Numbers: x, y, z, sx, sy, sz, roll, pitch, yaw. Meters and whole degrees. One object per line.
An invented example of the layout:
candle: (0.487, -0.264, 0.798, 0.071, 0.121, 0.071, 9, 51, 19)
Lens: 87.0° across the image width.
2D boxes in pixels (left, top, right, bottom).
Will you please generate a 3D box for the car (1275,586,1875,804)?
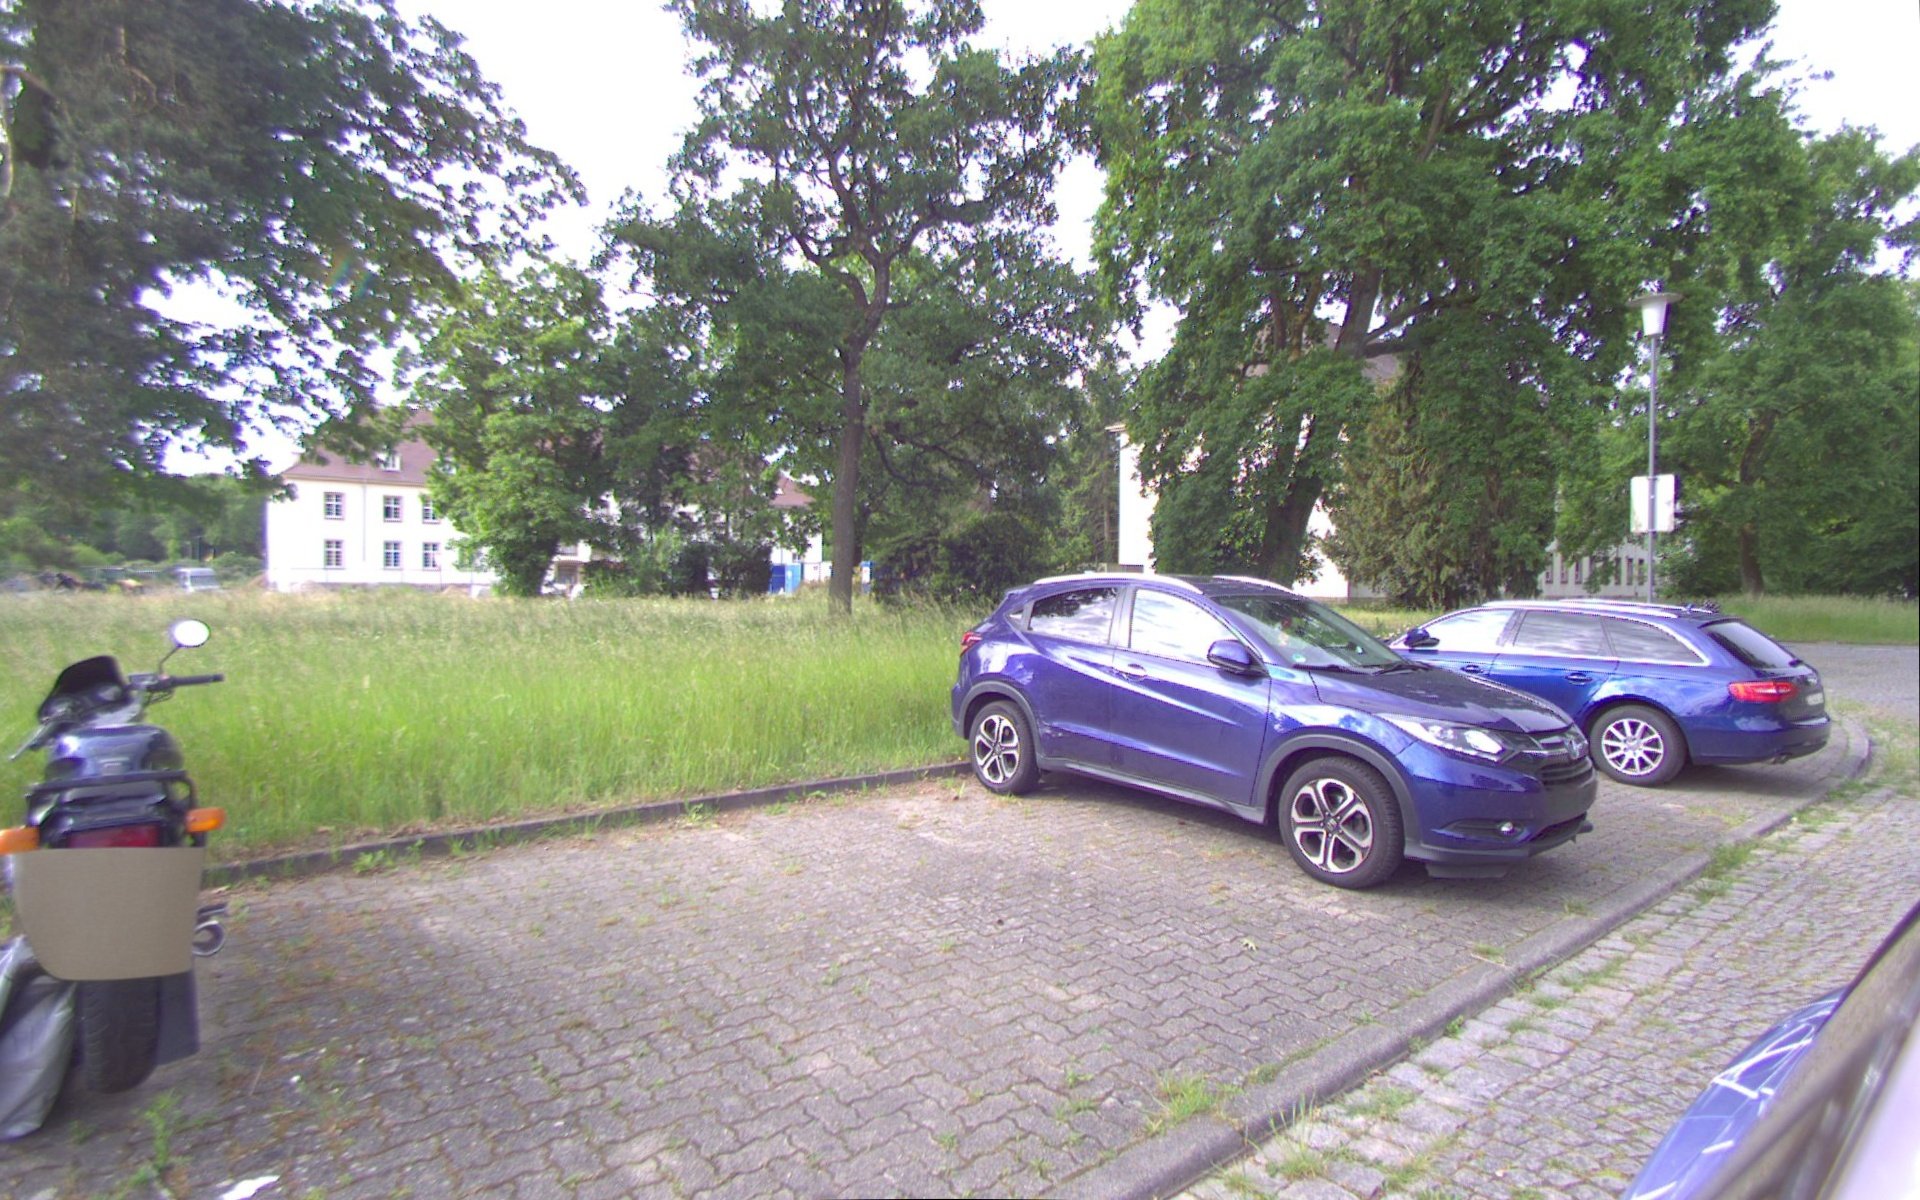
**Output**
car: (5.404, 0.646, 9.524, 1.751, 1.439, 4.484, 0, 2, -36)

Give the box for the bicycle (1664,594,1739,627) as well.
bicycle: (25.558, 0.360, 34.911, 2.010, 1.090, 0.616, 0, 0, 28)

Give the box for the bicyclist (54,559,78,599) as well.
bicyclist: (-38.115, -0.895, 43.141, 0.759, 1.717, 0.726, 0, 0, -42)

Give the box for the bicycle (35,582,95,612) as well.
bicycle: (-38.104, -0.143, 43.113, 1.898, 1.244, 0.724, -1, 0, -41)

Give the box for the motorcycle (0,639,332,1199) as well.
motorcycle: (-2.768, 0.812, 3.355, 0.782, 1.200, 2.331, -1, 2, -42)

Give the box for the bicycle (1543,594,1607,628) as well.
bicycle: (21.188, 0.367, 34.887, 1.840, 1.137, 0.616, 0, 0, 28)

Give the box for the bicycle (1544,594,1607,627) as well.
bicycle: (21.517, 0.359, 35.432, 1.840, 1.137, 0.616, 0, 0, 28)

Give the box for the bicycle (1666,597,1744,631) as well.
bicycle: (24.348, 0.437, 33.124, 1.951, 1.090, 0.583, 0, 0, 24)

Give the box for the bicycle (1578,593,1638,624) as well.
bicycle: (24.321, 0.298, 38.022, 1.840, 1.137, 0.616, 0, 0, 28)

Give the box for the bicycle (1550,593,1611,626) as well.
bicycle: (22.531, 0.337, 36.766, 1.840, 1.137, 0.616, 0, 0, 28)

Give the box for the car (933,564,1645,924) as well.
car: (1.794, 0.579, 6.649, 1.761, 1.591, 4.171, -2, 2, -39)

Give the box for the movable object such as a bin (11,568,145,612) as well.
movable object such as a bin: (-54.526, -0.642, 62.697, 5.852, 2.688, 2.180, -1, 0, -18)

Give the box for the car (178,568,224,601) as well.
car: (-55.714, -1.105, 74.260, 4.580, 2.377, 1.888, 0, 0, 43)

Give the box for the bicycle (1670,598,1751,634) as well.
bicycle: (23.492, 0.494, 31.718, 1.951, 1.090, 0.583, 0, 0, 24)
